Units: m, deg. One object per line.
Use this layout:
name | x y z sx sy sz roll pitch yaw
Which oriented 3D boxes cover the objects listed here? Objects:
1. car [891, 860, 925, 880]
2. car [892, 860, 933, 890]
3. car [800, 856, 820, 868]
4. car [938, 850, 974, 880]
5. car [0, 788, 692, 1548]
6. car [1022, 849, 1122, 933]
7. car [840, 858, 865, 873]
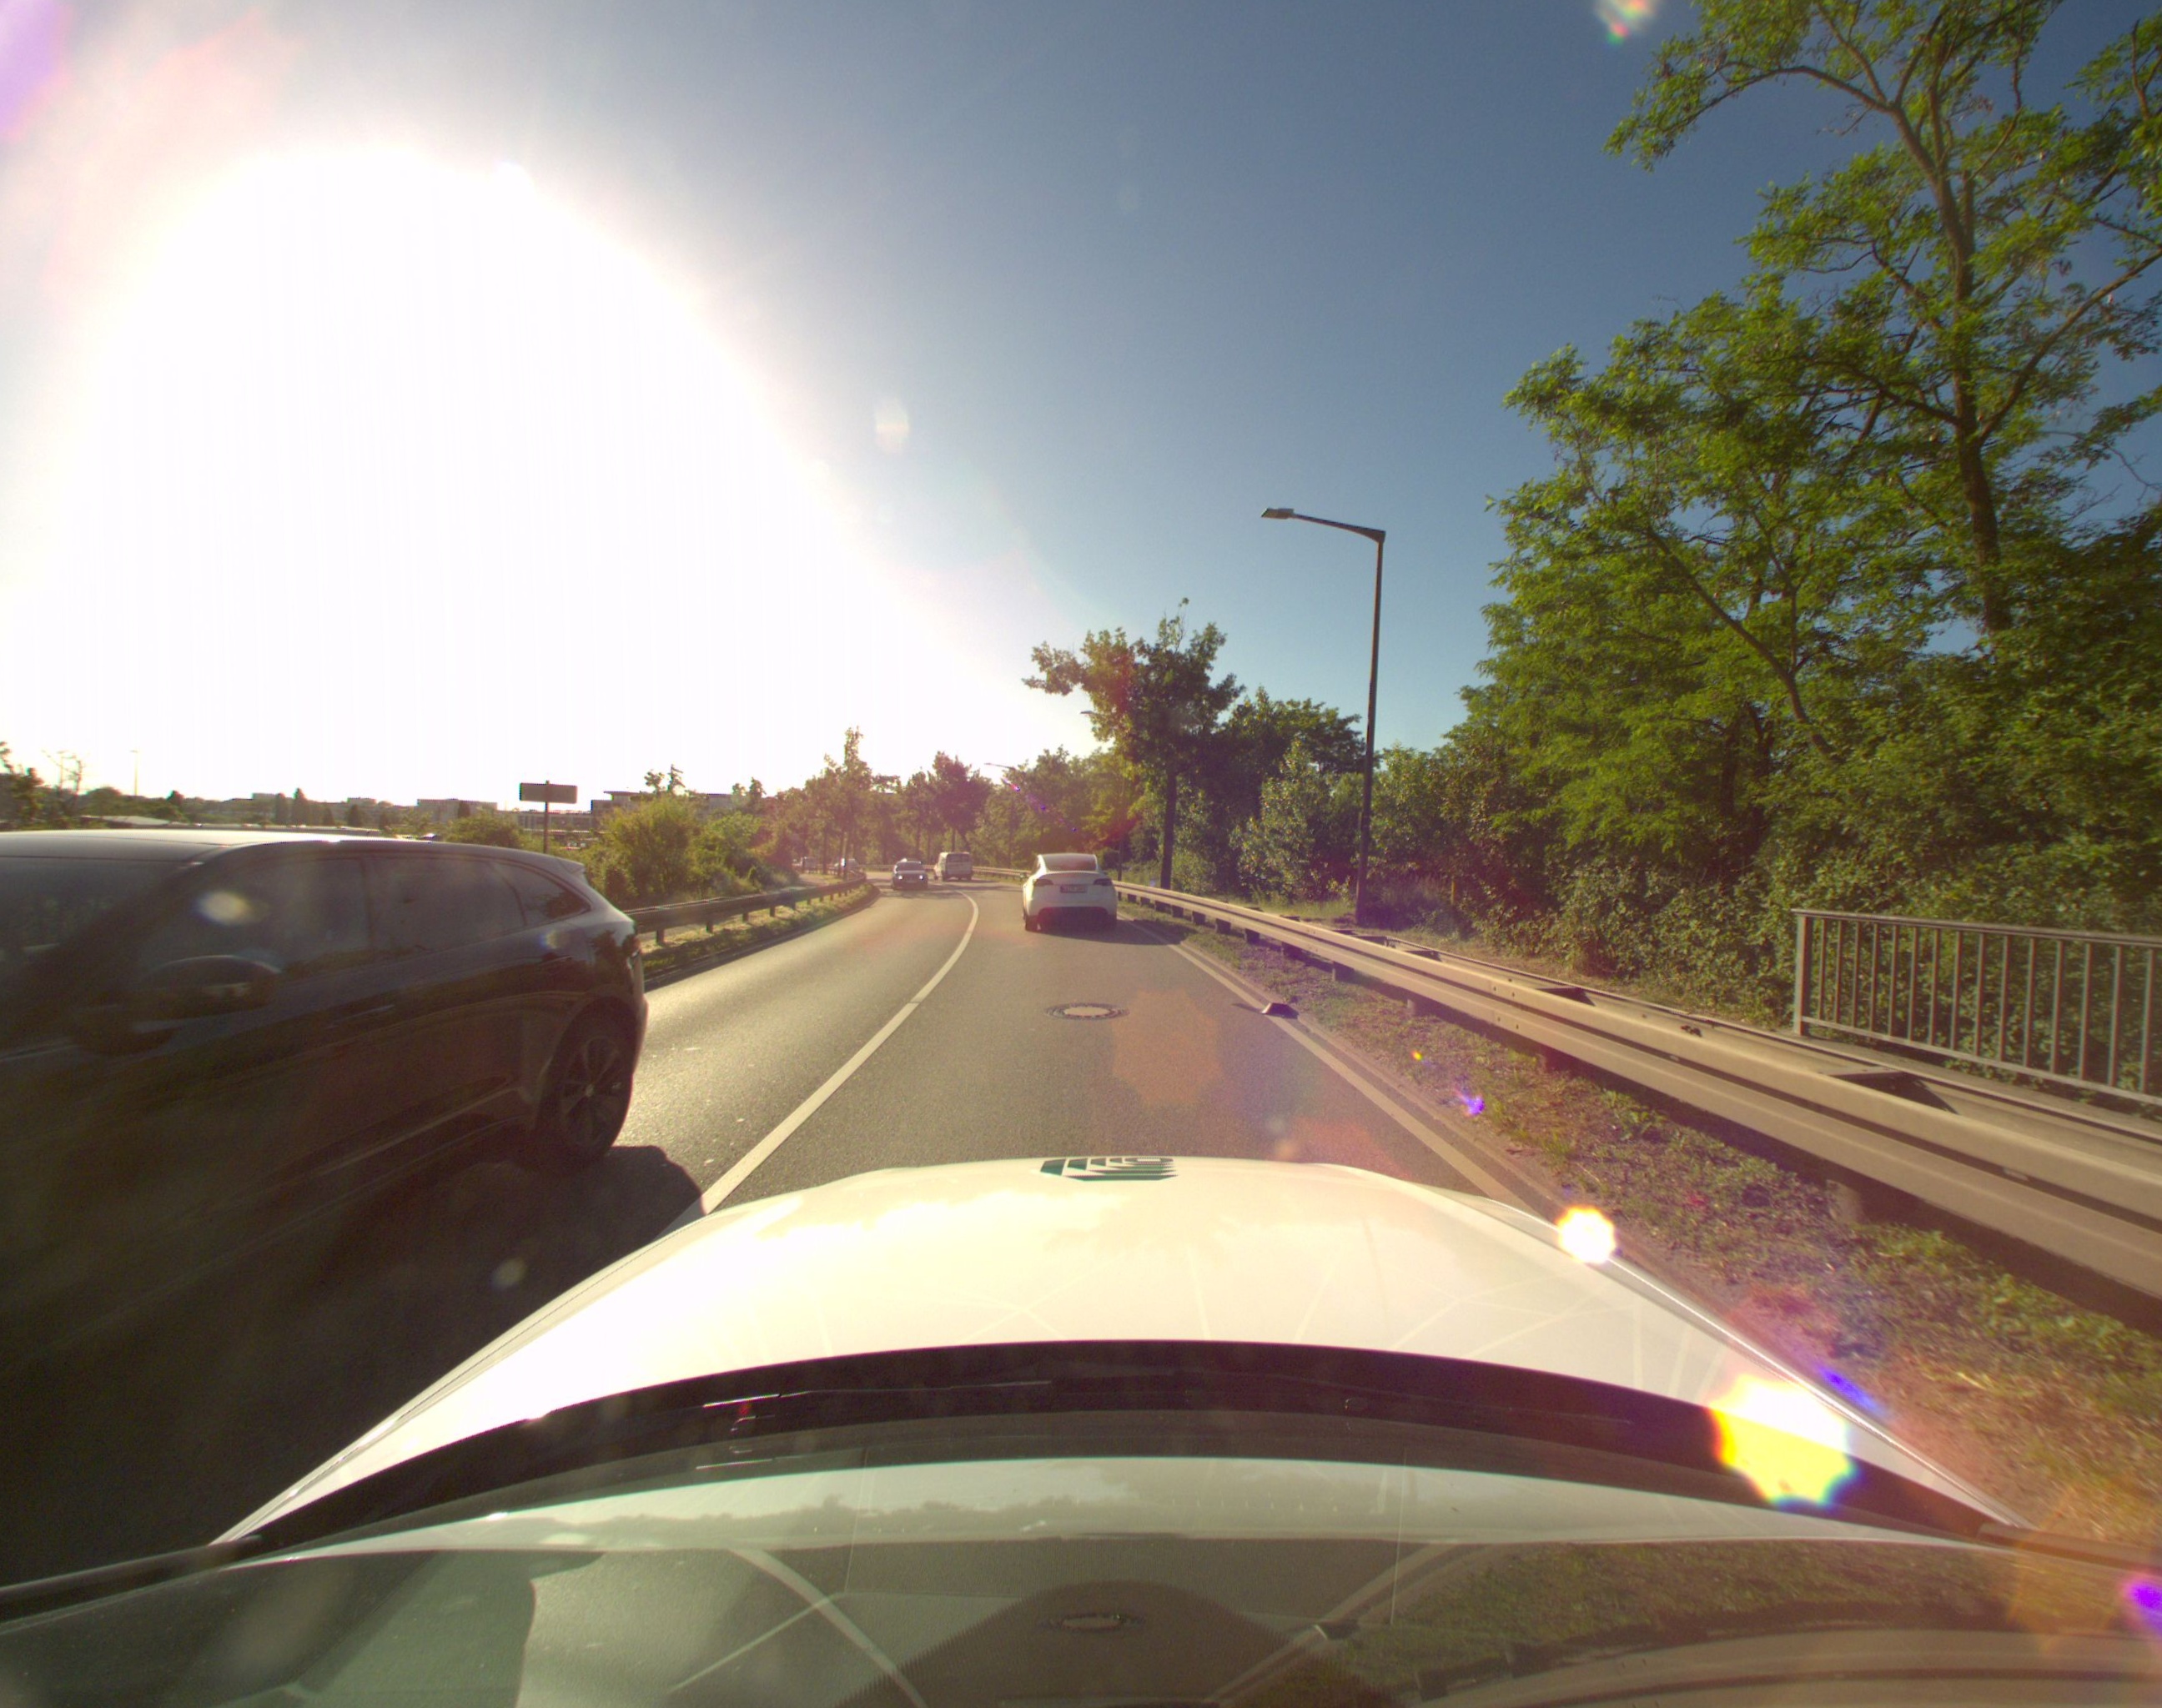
car | -14.773 1.339 69.381 1.869 1.585 3.880 0 0 -27
car | -8.597 1.045 41.394 1.796 1.431 3.806 0 0 -16
car | -36.071 1.004 108.330 1.847 1.555 3.856 0 0 -30
car | -8.360 0.708 54.233 2.008 1.940 4.447 0 0 -14
car | -3.297 0.679 2.725 1.893 1.643 4.461 0 0 -1
car | -0.308 0.731 18.131 1.981 1.638 4.056 -1 0 -4
car | -25.167 1.251 89.478 1.870 1.585 3.878 0 0 -28
